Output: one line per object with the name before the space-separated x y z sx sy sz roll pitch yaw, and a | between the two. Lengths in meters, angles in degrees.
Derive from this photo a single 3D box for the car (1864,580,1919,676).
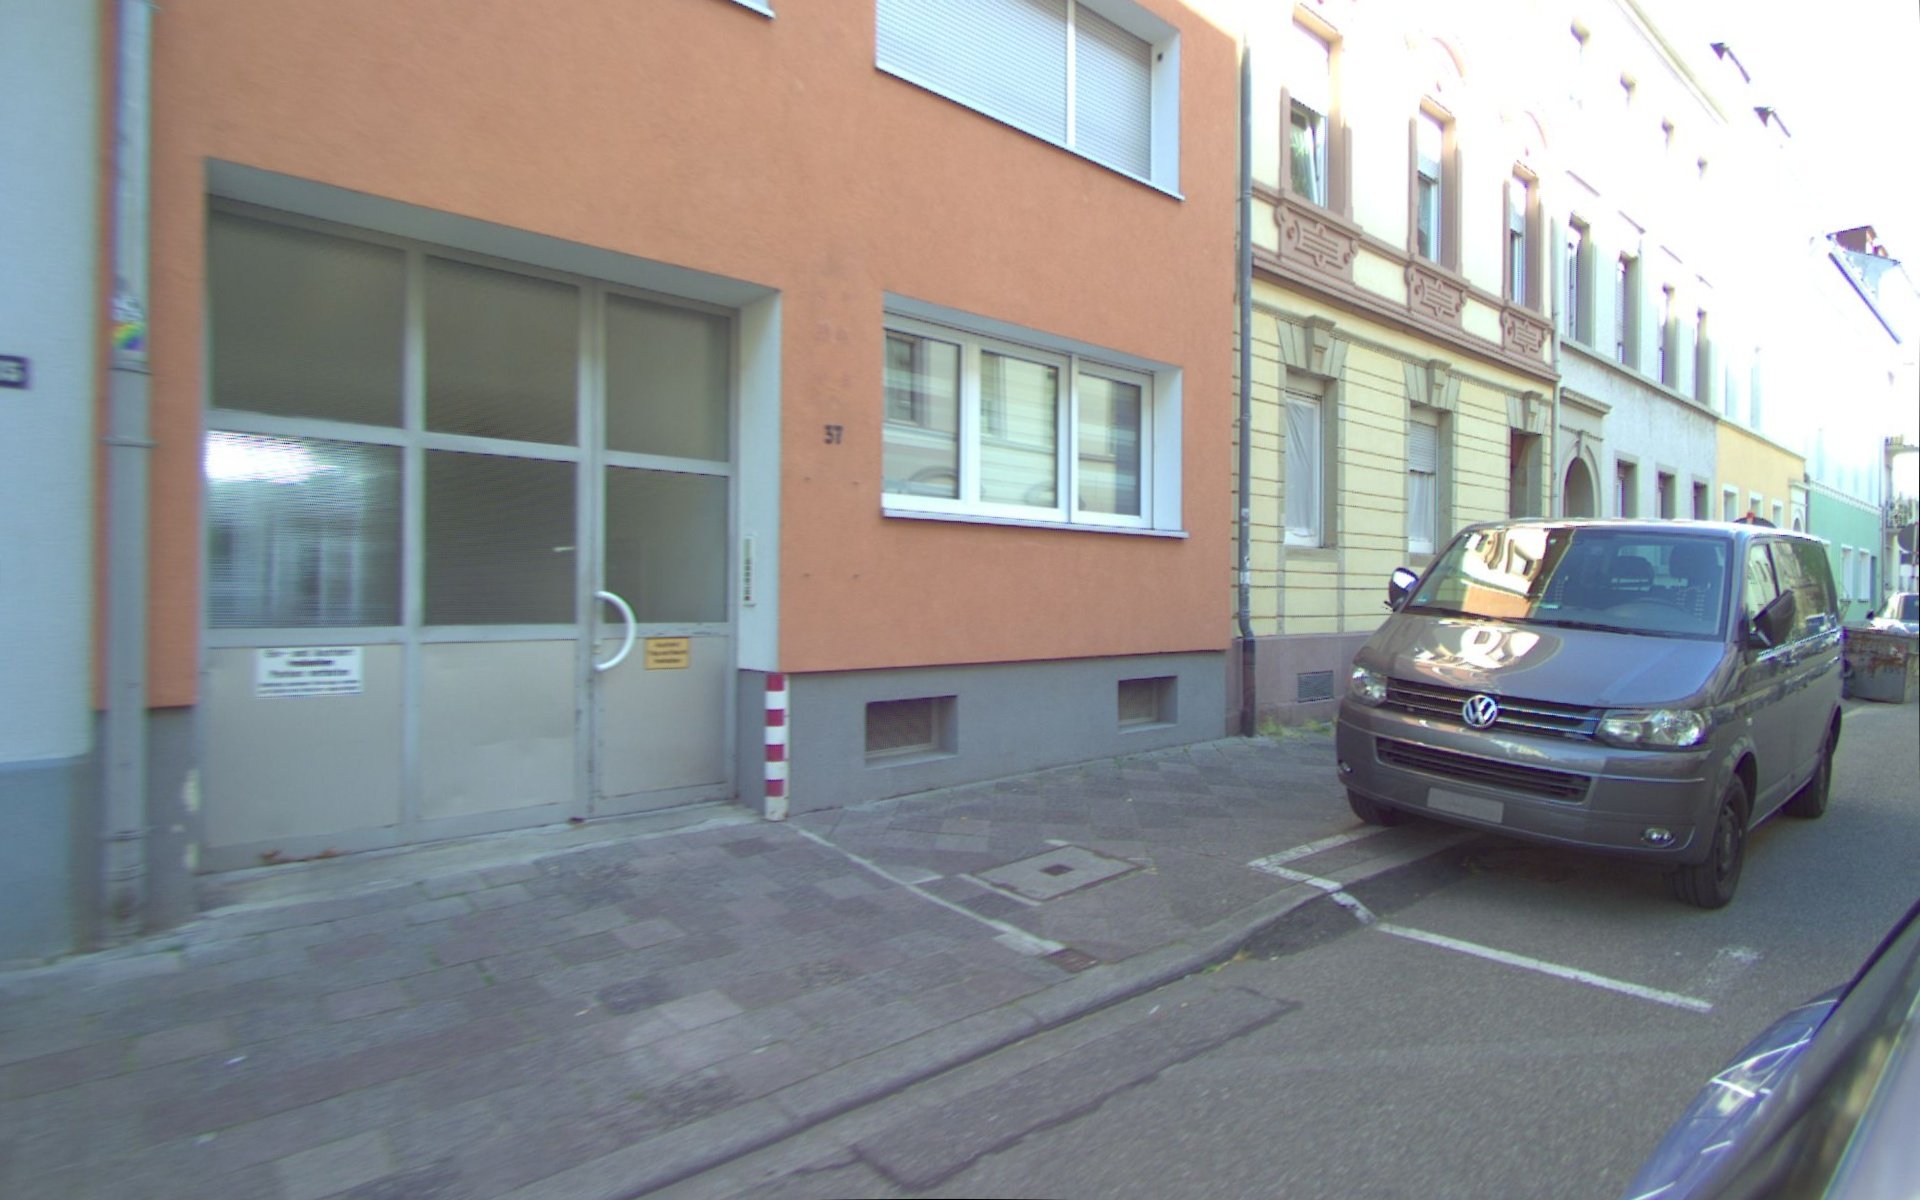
car | 17.440 0.435 17.831 3.980 1.562 1.743 -2 1 -40

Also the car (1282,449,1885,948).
car | 4.268 0.396 6.522 4.815 2.055 1.972 -1 -1 -42
